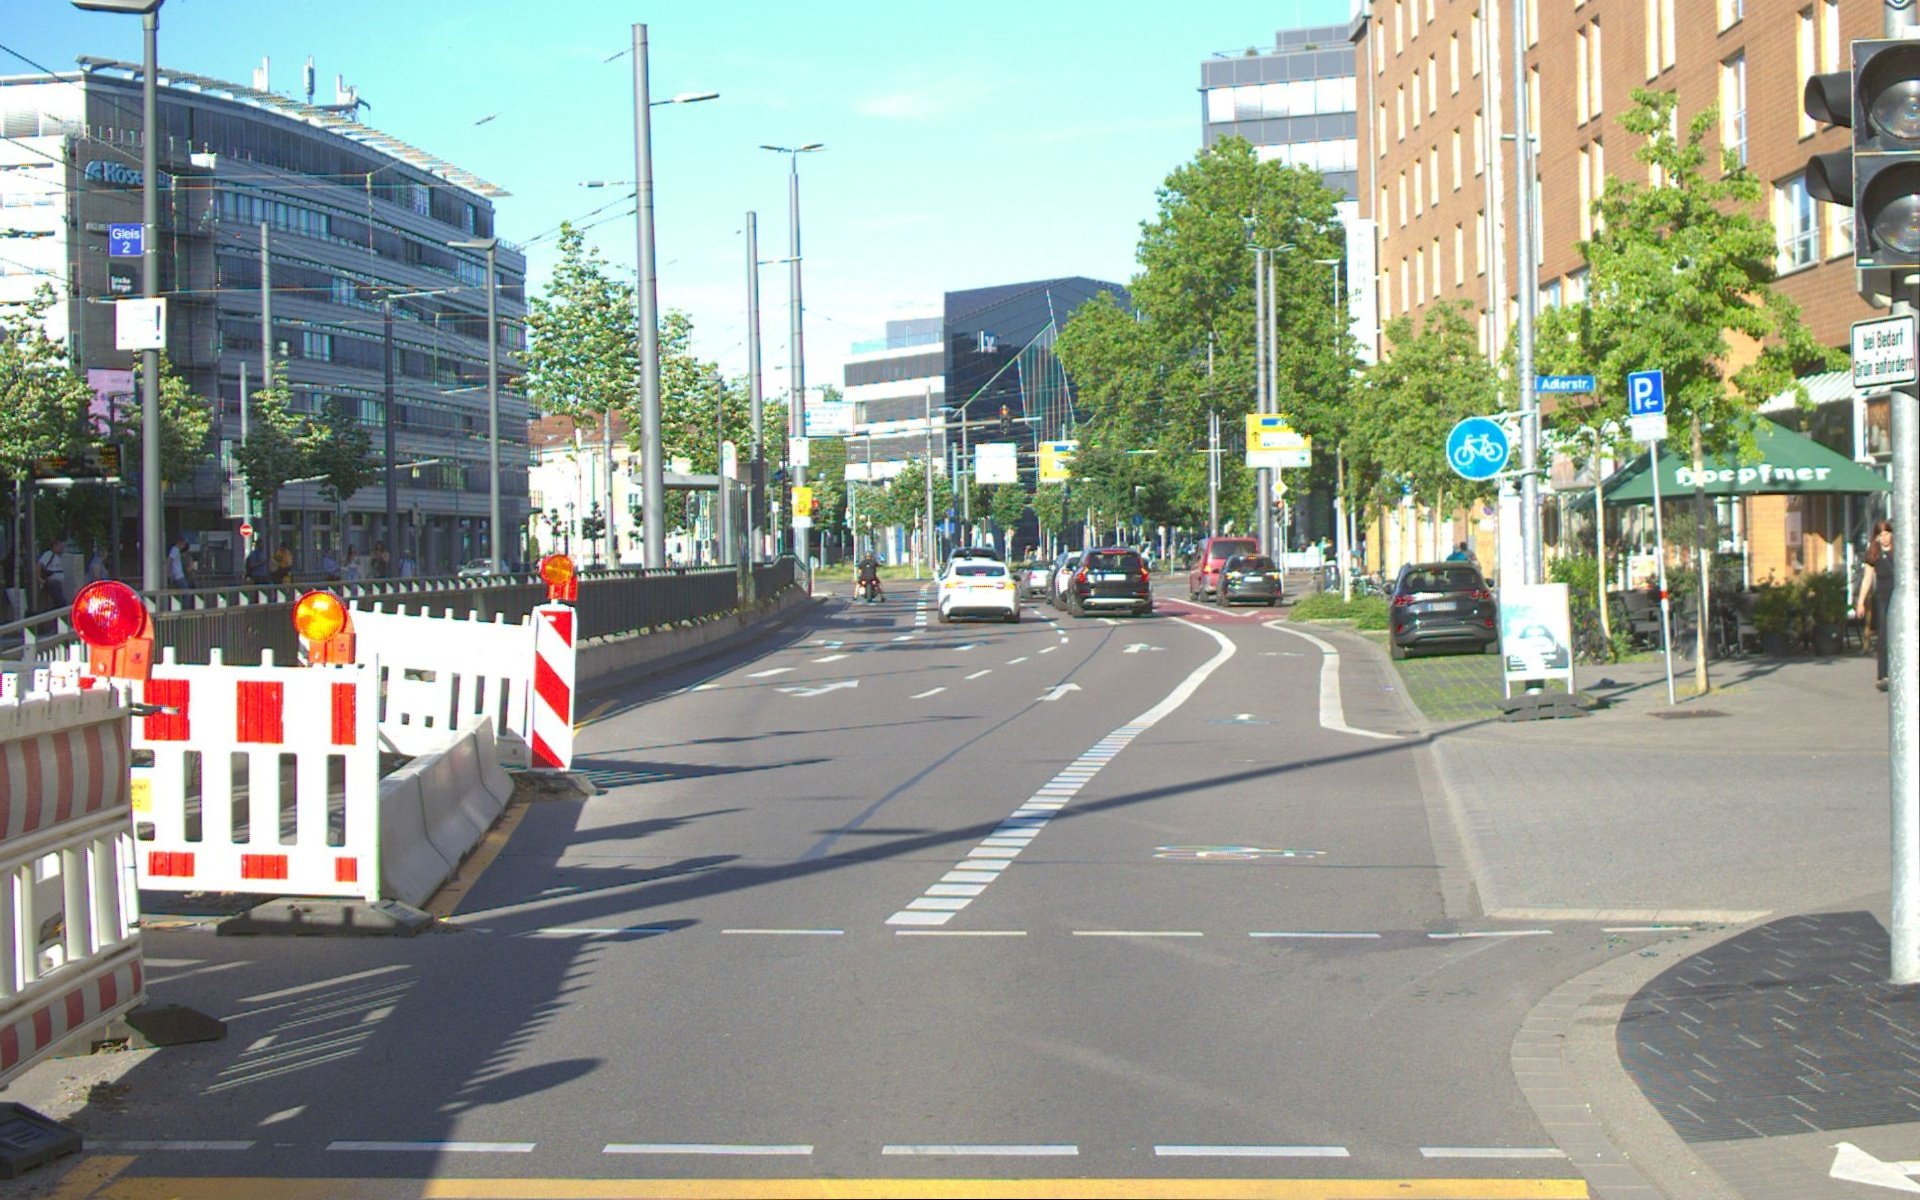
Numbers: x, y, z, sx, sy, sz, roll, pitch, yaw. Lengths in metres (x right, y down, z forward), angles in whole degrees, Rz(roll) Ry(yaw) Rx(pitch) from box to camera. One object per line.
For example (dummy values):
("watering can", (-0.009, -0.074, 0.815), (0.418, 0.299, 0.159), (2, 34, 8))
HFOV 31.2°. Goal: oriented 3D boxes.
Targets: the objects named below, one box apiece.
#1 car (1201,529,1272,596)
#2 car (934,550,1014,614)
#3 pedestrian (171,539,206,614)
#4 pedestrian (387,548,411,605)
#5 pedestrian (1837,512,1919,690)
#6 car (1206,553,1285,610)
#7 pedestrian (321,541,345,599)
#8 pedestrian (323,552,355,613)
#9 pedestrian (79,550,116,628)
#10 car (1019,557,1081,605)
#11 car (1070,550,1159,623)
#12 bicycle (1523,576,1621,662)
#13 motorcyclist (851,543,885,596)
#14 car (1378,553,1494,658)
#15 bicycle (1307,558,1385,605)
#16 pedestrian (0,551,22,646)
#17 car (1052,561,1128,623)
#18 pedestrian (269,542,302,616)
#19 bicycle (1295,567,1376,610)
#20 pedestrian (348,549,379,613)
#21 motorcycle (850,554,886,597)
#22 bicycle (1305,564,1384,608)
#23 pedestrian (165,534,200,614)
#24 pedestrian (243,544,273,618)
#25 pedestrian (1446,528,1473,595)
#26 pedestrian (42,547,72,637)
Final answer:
("car", (8.411, -1.152, 104.901), (1.860, 1.954, 4.000), (2, 1, 1))
("car", (0.307, -0.446, 80.657), (1.780, 1.409, 4.819), (1, 1, -1))
("pedestrian", (-16.645, -0.513, 74.160), (0.622, 1.606, 0.616), (0, 1, 0))
("pedestrian", (-17.949, -0.749, 109.992), (0.614, 1.811, 0.897), (0, 1, 0))
("pedestrian", (9.513, 0.002, 35.063), (0.885, 1.757, 1.104), (-3, 0, 21))
("car", (8.146, -0.537, 98.523), (1.846, 1.555, 4.633), (1, 1, 0))
("pedestrian", (-17.508, -0.834, 96.034), (0.563, 1.603, 0.616), (0, 1, 0))
("pedestrian", (-16.301, -0.463, 90.218), (0.640, 1.602, 0.945), (1, 1, 0))
("pedestrian", (-16.350, -0.207, 65.171), (0.539, 1.454, 0.642), (1, 1, 0))
("car", (2.887, -0.630, 110.801), (1.851, 1.492, 4.379), (0, 1, -1))
("car", (3.841, -0.367, 86.207), (1.975, 1.753, 4.633), (1, 1, 0))
("bicycle", (8.413, 0.264, 47.315), (0.765, 1.077, 1.998), (-6, 0, -4))
("motorcyclist", (-2.840, -0.945, 106.359), (1.019, 1.598, 1.148), (1, 1, 0))
("car", (7.888, 0.064, 57.245), (1.721, 1.631, 4.230), (-2, 1, 6))
("bicycle", (9.936, -0.473, 88.481), (1.946, 1.133, 0.490), (-2, 0, 11))
("pedestrian", (-16.538, -0.031, 59.681), (0.378, 1.642, 0.416), (1, 1, 0))
("car", (3.518, -0.219, 93.796), (1.851, 1.634, 4.379), (0, 0, -1))
("pedestrian", (-15.375, -0.484, 78.387), (0.640, 1.690, 0.541), (1, 1, 0))
("bicycle", (9.468, -0.300, 86.738), (1.946, 1.019, 0.501), (-2, 0, 17))
("pedestrian", (-15.649, -0.502, 90.205), (0.640, 1.637, 0.945), (1, 1, 0))
("motorcycle", (-2.837, -0.772, 106.361), (1.019, 1.307, 2.915), (1, 1, 0))
("bicycle", (9.838, -0.360, 87.962), (1.946, 1.071, 0.554), (-2, 0, 11))
("pedestrian", (-16.630, -0.563, 73.531), (0.622, 1.709, 0.616), (0, 1, 0))
("pedestrian", (-16.522, -0.456, 80.964), (0.581, 1.732, 0.616), (0, 1, 0))
("pedestrian", (13.628, -1.061, 93.786), (0.606, 1.815, 0.748), (-1, 0, -1))
("pedestrian", (-16.415, -0.153, 62.512), (0.378, 1.616, 0.553), (1, 1, 0))
